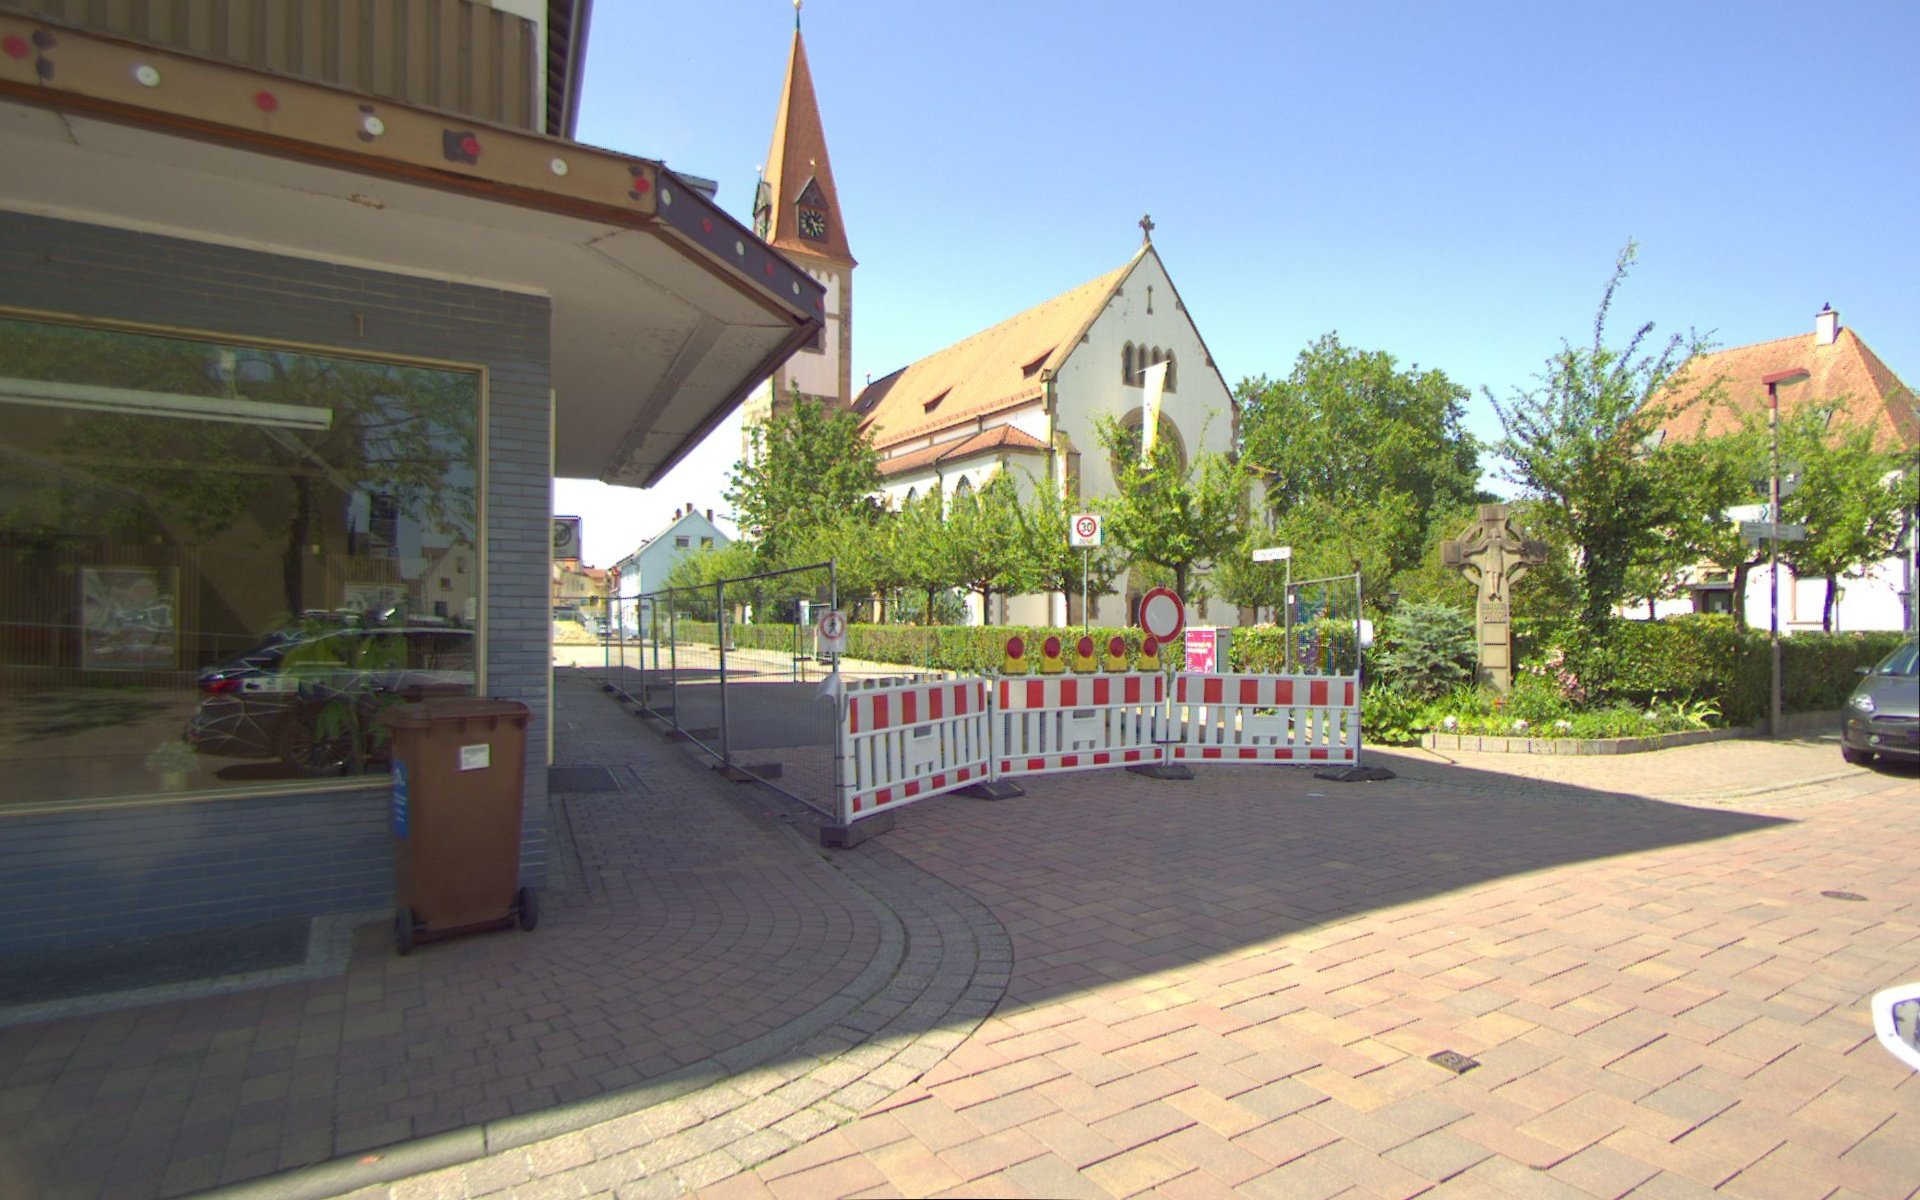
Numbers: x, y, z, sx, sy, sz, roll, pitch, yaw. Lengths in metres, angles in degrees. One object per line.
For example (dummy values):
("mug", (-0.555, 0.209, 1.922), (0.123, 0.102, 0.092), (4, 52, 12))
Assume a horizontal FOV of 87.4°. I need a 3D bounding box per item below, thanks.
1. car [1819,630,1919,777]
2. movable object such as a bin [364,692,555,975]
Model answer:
("car", (11.546, 1.112, 11.531), (3.819, 1.516, 1.691), (1, -1, -35))
("movable object such as a bin", (-2.285, 0.999, 4.577), (0.658, 1.084, 0.650), (1, -1, -37))
